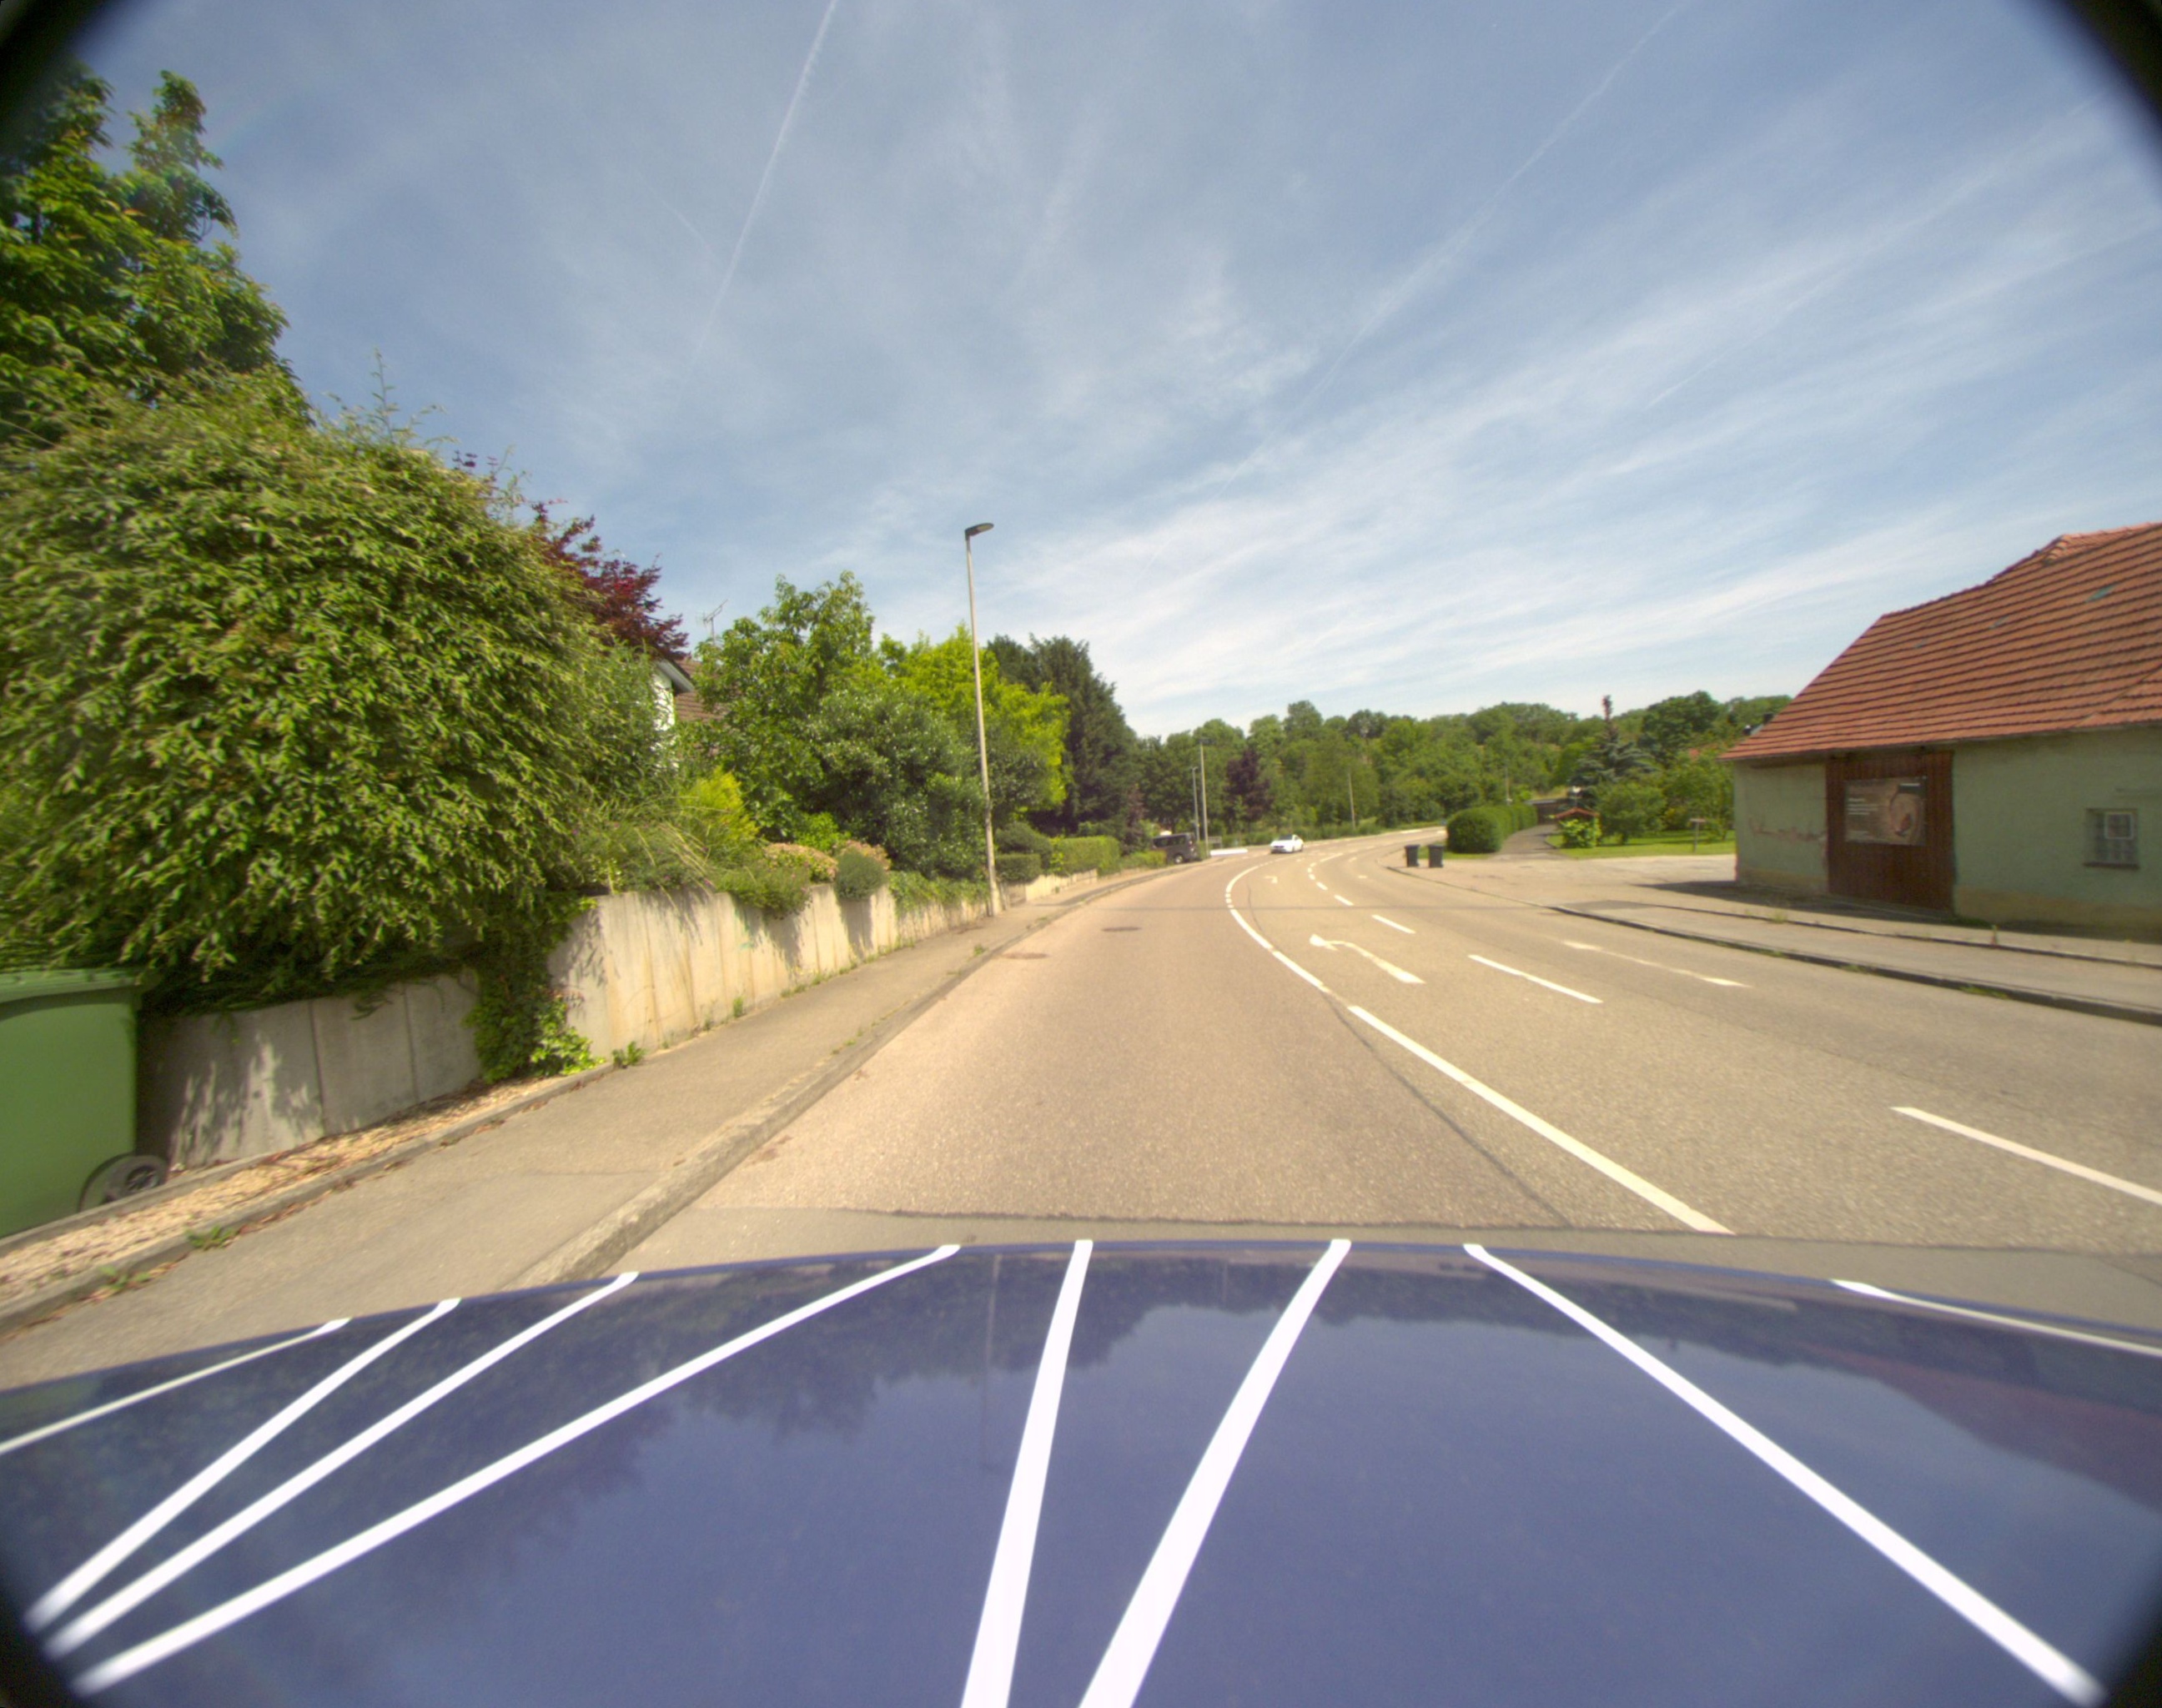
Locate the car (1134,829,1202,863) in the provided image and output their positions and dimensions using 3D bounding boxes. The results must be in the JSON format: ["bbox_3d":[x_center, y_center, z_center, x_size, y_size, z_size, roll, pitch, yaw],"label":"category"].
[{"bbox_3d":[5.641,-0.547,49.311,3.902,1.938,1.958,-4,1,22],"label":"car"}]

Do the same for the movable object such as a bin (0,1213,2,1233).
[{"bbox_3d":[-5.191,1.195,3.181,0.485,1.064,0.565,-3,1,10],"label":"movable object such as a bin"}]

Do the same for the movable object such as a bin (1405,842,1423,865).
[{"bbox_3d":[15.755,-0.025,35.974,0.554,1.075,0.541,-4,1,-5],"label":"movable object such as a bin"}]

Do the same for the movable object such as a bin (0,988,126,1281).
[{"bbox_3d":[-4.570,1.165,3.127,0.485,1.101,0.564,-4,1,6],"label":"movable object such as a bin"}]

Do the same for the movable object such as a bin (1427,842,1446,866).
[{"bbox_3d":[16.085,0.006,34.389,0.534,1.044,0.541,-4,1,-5],"label":"movable object such as a bin"}]

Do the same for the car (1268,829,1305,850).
[{"bbox_3d":[16.698,-1.180,61.583,1.823,1.543,4.006,-3,1,29],"label":"car"}]
